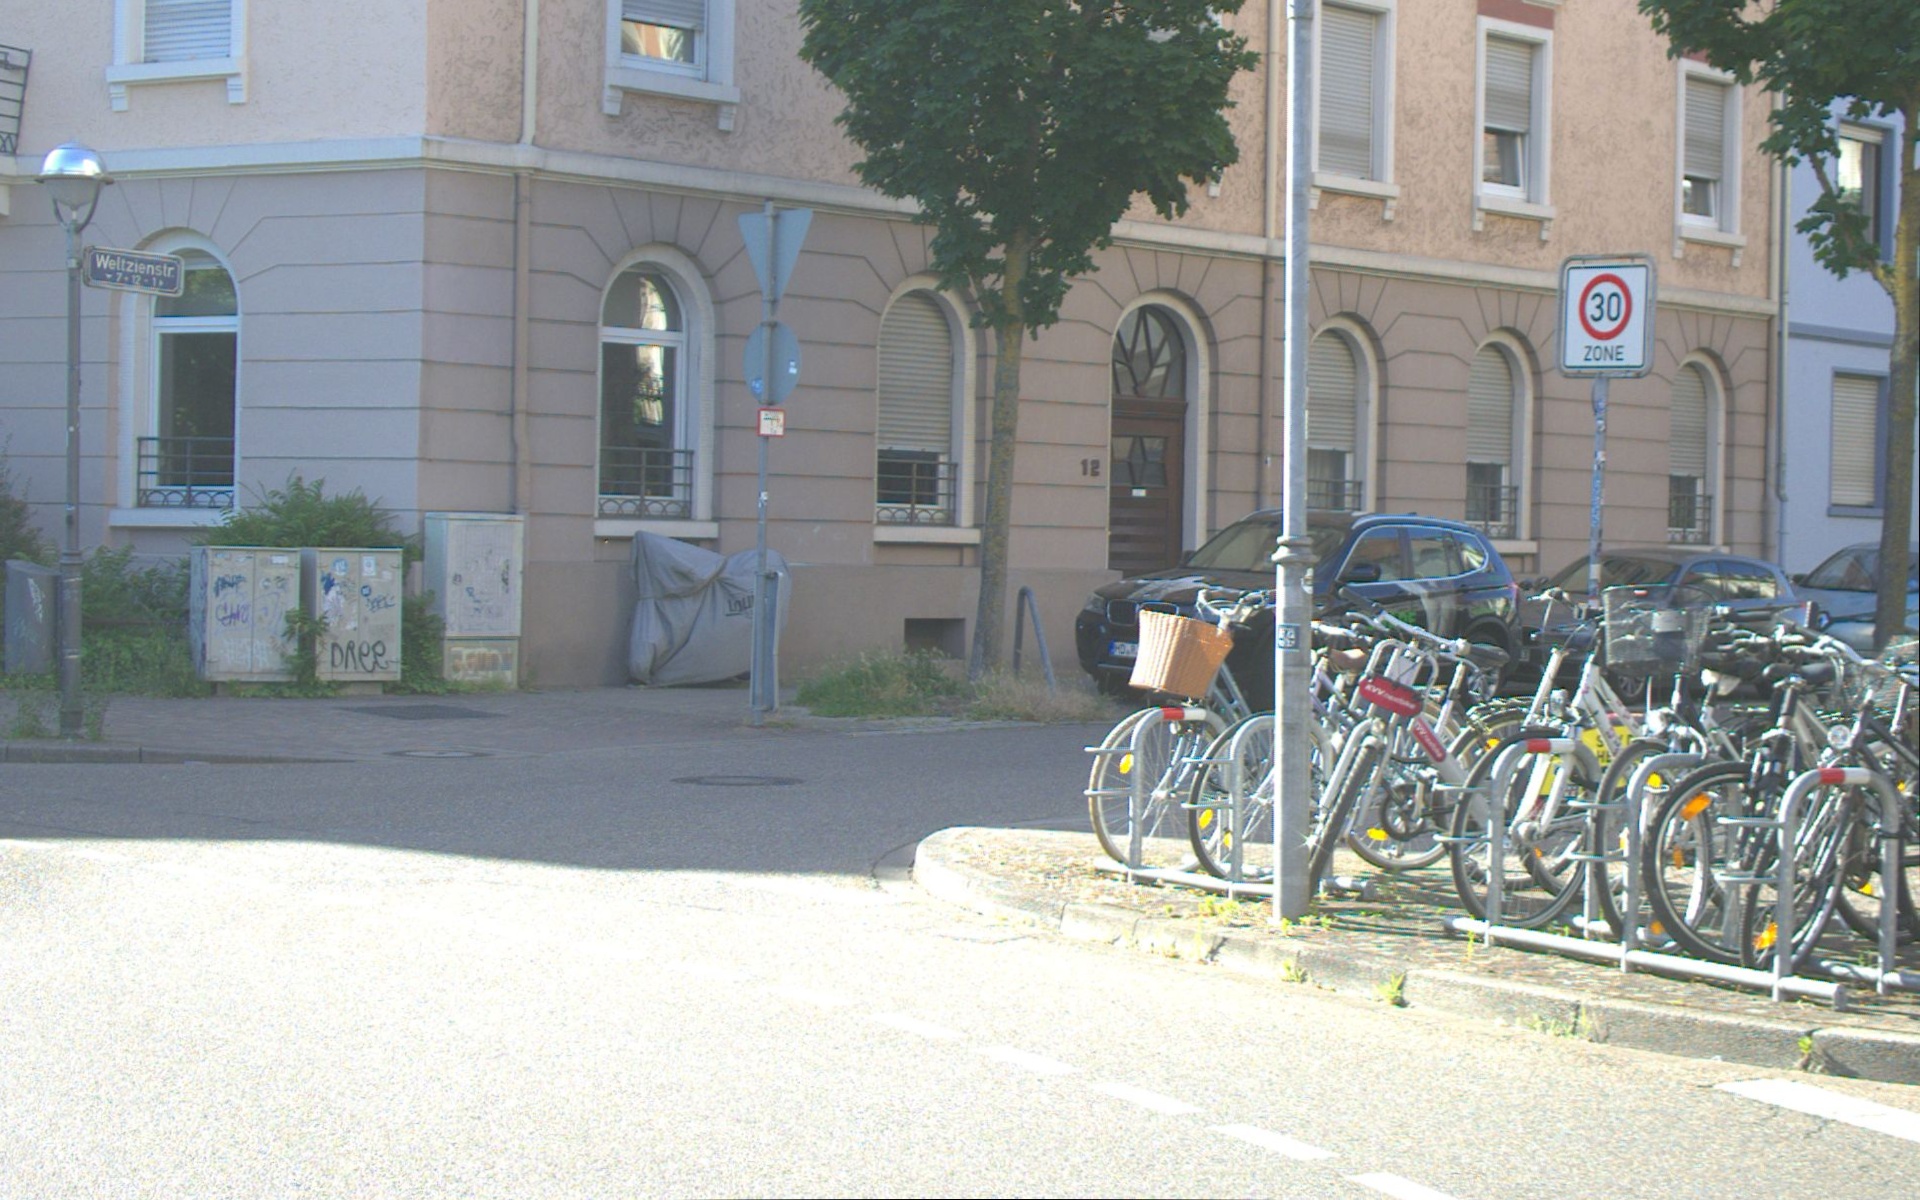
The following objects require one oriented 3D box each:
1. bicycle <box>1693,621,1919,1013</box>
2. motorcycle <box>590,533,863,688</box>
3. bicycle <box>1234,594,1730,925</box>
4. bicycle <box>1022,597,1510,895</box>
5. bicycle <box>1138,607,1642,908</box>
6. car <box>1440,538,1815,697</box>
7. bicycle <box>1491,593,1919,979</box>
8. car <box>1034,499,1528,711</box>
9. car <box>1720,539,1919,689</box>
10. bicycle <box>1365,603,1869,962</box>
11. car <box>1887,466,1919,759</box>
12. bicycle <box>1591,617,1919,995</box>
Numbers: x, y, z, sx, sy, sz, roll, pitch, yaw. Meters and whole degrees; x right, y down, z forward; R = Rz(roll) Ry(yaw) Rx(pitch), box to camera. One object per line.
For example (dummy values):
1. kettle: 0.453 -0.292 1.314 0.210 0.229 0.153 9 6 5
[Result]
1. bicycle: 3.077 0.632 10.509 1.713 1.119 0.483 0 1 -28
2. motorcycle: -1.938 0.073 28.796 2.148 1.216 0.942 0 3 -44
3. bicycle: 1.909 0.562 12.560 1.691 1.141 0.638 1 1 -23
4. bicycle: 1.237 0.568 13.782 1.861 1.126 0.699 1 -1 -29
5. bicycle: 1.651 0.583 13.125 1.872 1.086 0.536 1 1 -23
6. car: 6.383 0.155 32.683 3.653 1.407 1.701 0 1 -44
7. bicycle: 2.556 0.582 11.266 1.691 1.187 0.451 0 1 -31
8. car: 2.778 0.030 29.019 1.907 1.636 4.336 2 1 42
9. car: 9.936 0.137 36.502 3.992 1.481 1.701 0 1 -44
10. bicycle: 2.255 0.593 11.739 1.691 1.141 0.617 0 1 -31
11. car: 8.361 0.112 23.588 2.139 1.902 4.551 2 1 39
12. bicycle: 2.819 0.622 10.903 1.691 1.119 0.483 0 1 -31
